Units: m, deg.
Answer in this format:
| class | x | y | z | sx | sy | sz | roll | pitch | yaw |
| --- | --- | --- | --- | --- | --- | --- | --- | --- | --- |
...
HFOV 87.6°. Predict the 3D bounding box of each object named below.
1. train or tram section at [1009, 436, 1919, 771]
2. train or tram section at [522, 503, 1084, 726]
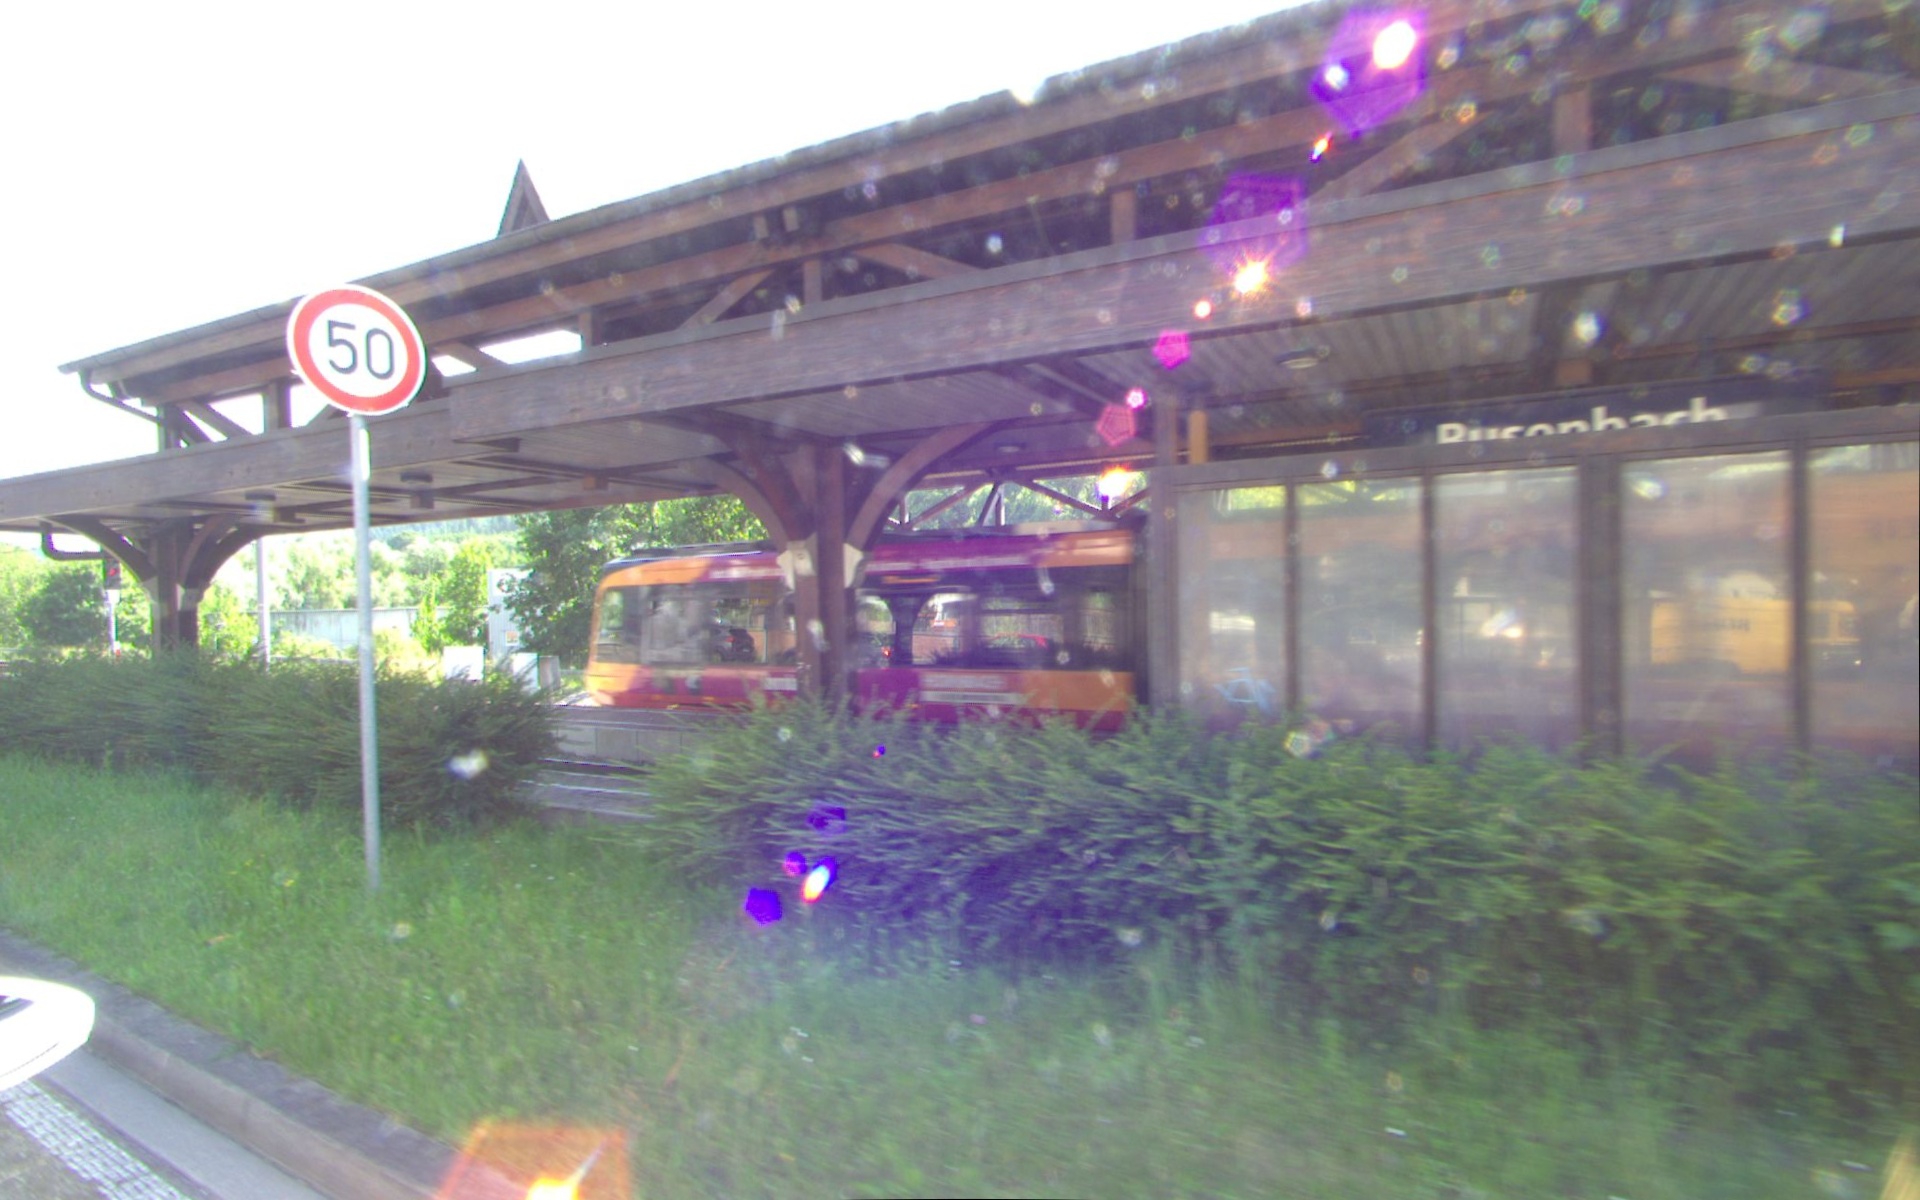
| class | x | y | z | sx | sy | sz | roll | pitch | yaw |
| --- | --- | --- | --- | --- | --- | --- | --- | --- | --- |
| train or tram section | 6.568 | 0.168 | 13.634 | 11.869 | 3.406 | 2.784 | -1 | -3 | 30 |
| train or tram section | -3.604 | 0.294 | 19.599 | 11.871 | 3.407 | 2.753 | 0 | -2 | 31 |
